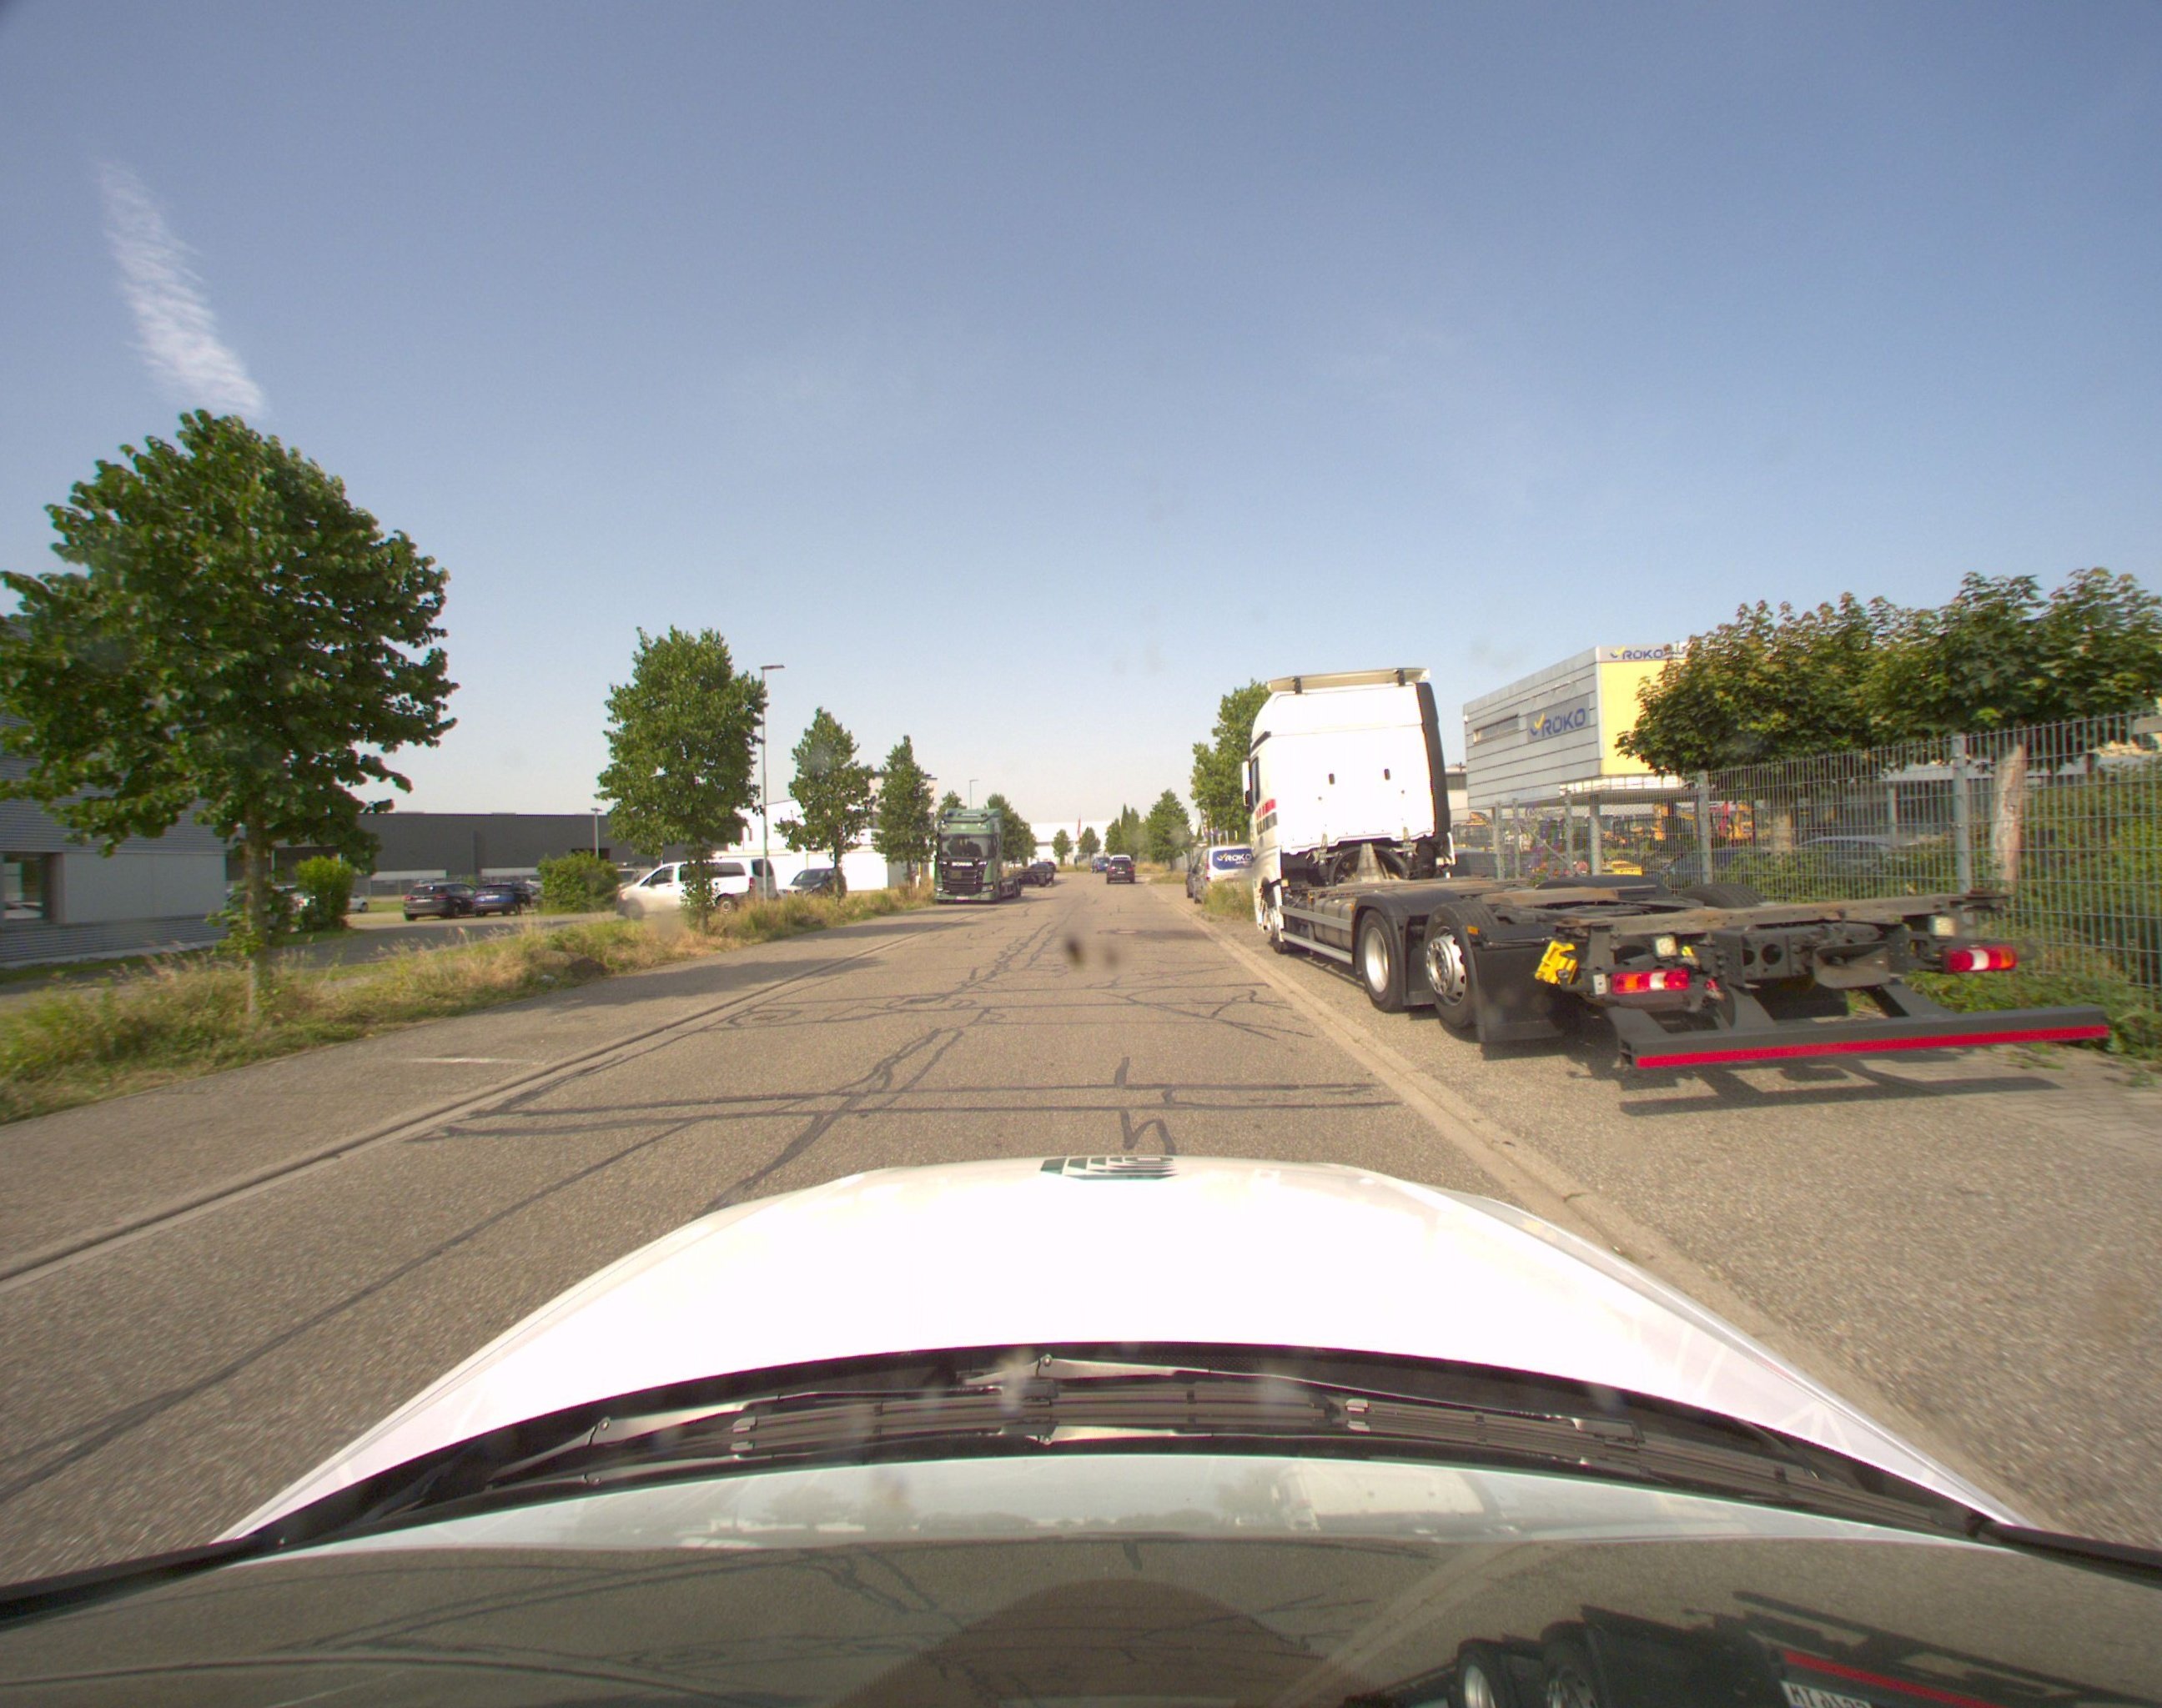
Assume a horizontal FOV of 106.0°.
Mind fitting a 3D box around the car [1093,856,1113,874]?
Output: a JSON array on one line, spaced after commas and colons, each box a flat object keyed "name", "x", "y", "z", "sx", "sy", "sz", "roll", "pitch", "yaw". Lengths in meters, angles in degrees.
[{"name": "car", "x": 2.349, "y": 1.126, "z": 85.058, "sx": 1.985, "sy": 1.805, "sz": 4.003, "roll": 0, "pitch": 0, "yaw": 3}]

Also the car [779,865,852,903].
[{"name": "car", "x": -13.377, "y": 1.483, "z": 41.341, "sx": 1.986, "sy": 1.686, "sz": 4.700, "roll": -3, "pitch": 0, "yaw": 1}]

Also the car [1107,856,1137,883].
[{"name": "car", "x": 2.812, "y": 1.040, "z": 55.792, "sx": 1.985, "sy": 1.805, "sz": 4.003, "roll": 0, "pitch": 0, "yaw": 3}]

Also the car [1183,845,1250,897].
[{"name": "car", "x": 4.936, "y": 0.623, "z": 30.211, "sx": 1.819, "sy": 1.720, "sz": 4.250, "roll": -2, "pitch": -1, "yaw": 1}]

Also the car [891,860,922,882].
[{"name": "car", "x": -14.291, "y": 1.369, "z": 66.948, "sx": 1.766, "sy": 1.525, "sz": 4.300, "roll": -2, "pitch": 1, "yaw": -3}]

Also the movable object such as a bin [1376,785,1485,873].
[{"name": "movable object such as a bin", "x": 20.957, "y": -1.427, "z": 49.410, "sx": 3.304, "sy": 4.806, "sz": 7.674, "roll": -2, "pitch": 0, "yaw": 1}]

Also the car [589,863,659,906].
[{"name": "car", "x": -29.063, "y": 1.898, "z": 51.998, "sx": 2.050, "sy": 2.547, "sz": 5.443, "roll": -2, "pitch": -1, "yaw": -8}]

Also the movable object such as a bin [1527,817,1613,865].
[{"name": "movable object such as a bin", "x": 31.279, "y": -0.801, "z": 52.347, "sx": 2.047, "sy": 2.769, "sz": 5.691, "roll": -3, "pitch": 0, "yaw": 1}]

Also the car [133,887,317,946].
[{"name": "car", "x": -25.705, "y": 1.812, "z": 24.705, "sx": 1.576, "sy": 1.481, "sz": 4.504, "roll": -2, "pitch": -1, "yaw": -13}]

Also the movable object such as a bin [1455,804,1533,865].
[{"name": "movable object such as a bin", "x": 28.643, "y": -1.280, "z": 56.743, "sx": 2.673, "sy": 3.873, "sz": 5.723, "roll": -2, "pitch": 0, "yaw": 3}]

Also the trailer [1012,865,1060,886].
[{"name": "trailer", "x": -2.993, "y": 1.428, "z": 56.406, "sx": 2.119, "sy": 1.232, "sz": 7.170, "roll": 0, "pitch": 0, "yaw": 6}]

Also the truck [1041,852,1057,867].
[{"name": "truck", "x": -6.321, "y": 1.098, "z": 162.962, "sx": 2.440, "sy": 2.826, "sz": 8.009, "roll": -2, "pitch": 0, "yaw": 3}]

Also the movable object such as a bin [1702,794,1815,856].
[{"name": "movable object such as a bin", "x": 46.745, "y": -1.894, "z": 56.448, "sx": 2.444, "sy": 3.929, "sz": 6.139, "roll": -3, "pitch": -1, "yaw": -1}]

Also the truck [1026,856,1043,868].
[{"name": "truck", "x": -9.276, "y": 1.624, "z": 163.105, "sx": 2.440, "sy": 2.265, "sz": 8.009, "roll": -2, "pitch": 0, "yaw": 3}]

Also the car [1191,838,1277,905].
[{"name": "car", "x": 4.525, "y": 0.514, "z": 24.791, "sx": 1.985, "sy": 1.789, "sz": 4.604, "roll": -2, "pitch": -1, "yaw": 4}]

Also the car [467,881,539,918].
[{"name": "car", "x": -25.891, "y": 2.015, "z": 36.621, "sx": 1.852, "sy": 1.486, "sz": 3.968, "roll": -2, "pitch": -1, "yaw": -24}]

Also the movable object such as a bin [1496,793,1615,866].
[{"name": "movable object such as a bin", "x": 28.322, "y": -1.370, "z": 49.070, "sx": 2.908, "sy": 3.929, "sz": 7.209, "roll": -3, "pitch": 0, "yaw": 1}]

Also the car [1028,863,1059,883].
[{"name": "car", "x": -2.930, "y": 1.456, "z": 64.529, "sx": 1.985, "sy": 1.466, "sz": 4.436, "roll": 0, "pitch": 0, "yaw": 3}]

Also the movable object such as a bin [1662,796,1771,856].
[{"name": "movable object such as a bin", "x": 43.562, "y": -1.814, "z": 56.083, "sx": 2.444, "sy": 3.781, "sz": 6.139, "roll": -3, "pitch": -1, "yaw": -1}]

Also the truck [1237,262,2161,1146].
[{"name": "truck", "x": 3.929, "y": -0.706, "z": 8.717, "sx": 2.735, "sy": 4.015, "sz": 9.691, "roll": -4, "pitch": 0, "yaw": 2}]

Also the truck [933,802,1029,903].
[{"name": "truck", "x": -4.227, "y": 0.019, "z": 36.599, "sx": 2.444, "sy": 3.882, "sz": 9.812, "roll": 0, "pitch": -1, "yaw": 4}]

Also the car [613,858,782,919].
[{"name": "car", "x": -12.905, "y": 1.137, "z": 27.634, "sx": 4.684, "sy": 1.836, "sz": 2.105, "roll": -2, "pitch": 0, "yaw": 3}]

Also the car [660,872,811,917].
[{"name": "car", "x": -12.716, "y": 1.471, "z": 30.165, "sx": 4.704, "sy": 1.431, "sz": 2.003, "roll": -2, "pitch": 0, "yaw": 5}]

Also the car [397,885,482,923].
[{"name": "car", "x": -28.235, "y": 2.155, "z": 35.970, "sx": 1.973, "sy": 1.486, "sz": 3.968, "roll": -2, "pitch": -1, "yaw": -24}]

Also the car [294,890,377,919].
[{"name": "car", "x": -44.297, "y": 2.962, "z": 48.502, "sx": 1.574, "sy": 1.481, "sz": 4.139, "roll": -2, "pitch": -1, "yaw": -8}]

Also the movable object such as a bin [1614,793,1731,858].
[{"name": "movable object such as a bin", "x": 39.937, "y": -1.808, "z": 55.357, "sx": 2.459, "sy": 3.929, "sz": 7.198, "roll": -3, "pitch": -1, "yaw": -1}]

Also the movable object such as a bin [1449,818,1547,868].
[{"name": "movable object such as a bin", "x": 25.118, "y": -0.638, "z": 49.439, "sx": 2.691, "sy": 2.716, "sz": 6.350, "roll": -3, "pitch": 0, "yaw": 1}]

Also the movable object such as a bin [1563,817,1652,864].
[{"name": "movable object such as a bin", "x": 33.871, "y": -0.811, "z": 52.608, "sx": 2.047, "sy": 2.769, "sz": 5.691, "roll": -3, "pitch": 0, "yaw": 1}]

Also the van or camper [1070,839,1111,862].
[{"name": "van or camper", "x": 1.250, "y": -0.457, "z": 112.583, "sx": 2.363, "sy": 2.848, "sz": 7.273, "roll": -1, "pitch": -1, "yaw": -29}]

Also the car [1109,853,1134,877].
[{"name": "car", "x": 3.466, "y": 0.909, "z": 70.384, "sx": 1.986, "sy": 1.899, "sz": 4.468, "roll": -2, "pitch": 0, "yaw": 1}]
